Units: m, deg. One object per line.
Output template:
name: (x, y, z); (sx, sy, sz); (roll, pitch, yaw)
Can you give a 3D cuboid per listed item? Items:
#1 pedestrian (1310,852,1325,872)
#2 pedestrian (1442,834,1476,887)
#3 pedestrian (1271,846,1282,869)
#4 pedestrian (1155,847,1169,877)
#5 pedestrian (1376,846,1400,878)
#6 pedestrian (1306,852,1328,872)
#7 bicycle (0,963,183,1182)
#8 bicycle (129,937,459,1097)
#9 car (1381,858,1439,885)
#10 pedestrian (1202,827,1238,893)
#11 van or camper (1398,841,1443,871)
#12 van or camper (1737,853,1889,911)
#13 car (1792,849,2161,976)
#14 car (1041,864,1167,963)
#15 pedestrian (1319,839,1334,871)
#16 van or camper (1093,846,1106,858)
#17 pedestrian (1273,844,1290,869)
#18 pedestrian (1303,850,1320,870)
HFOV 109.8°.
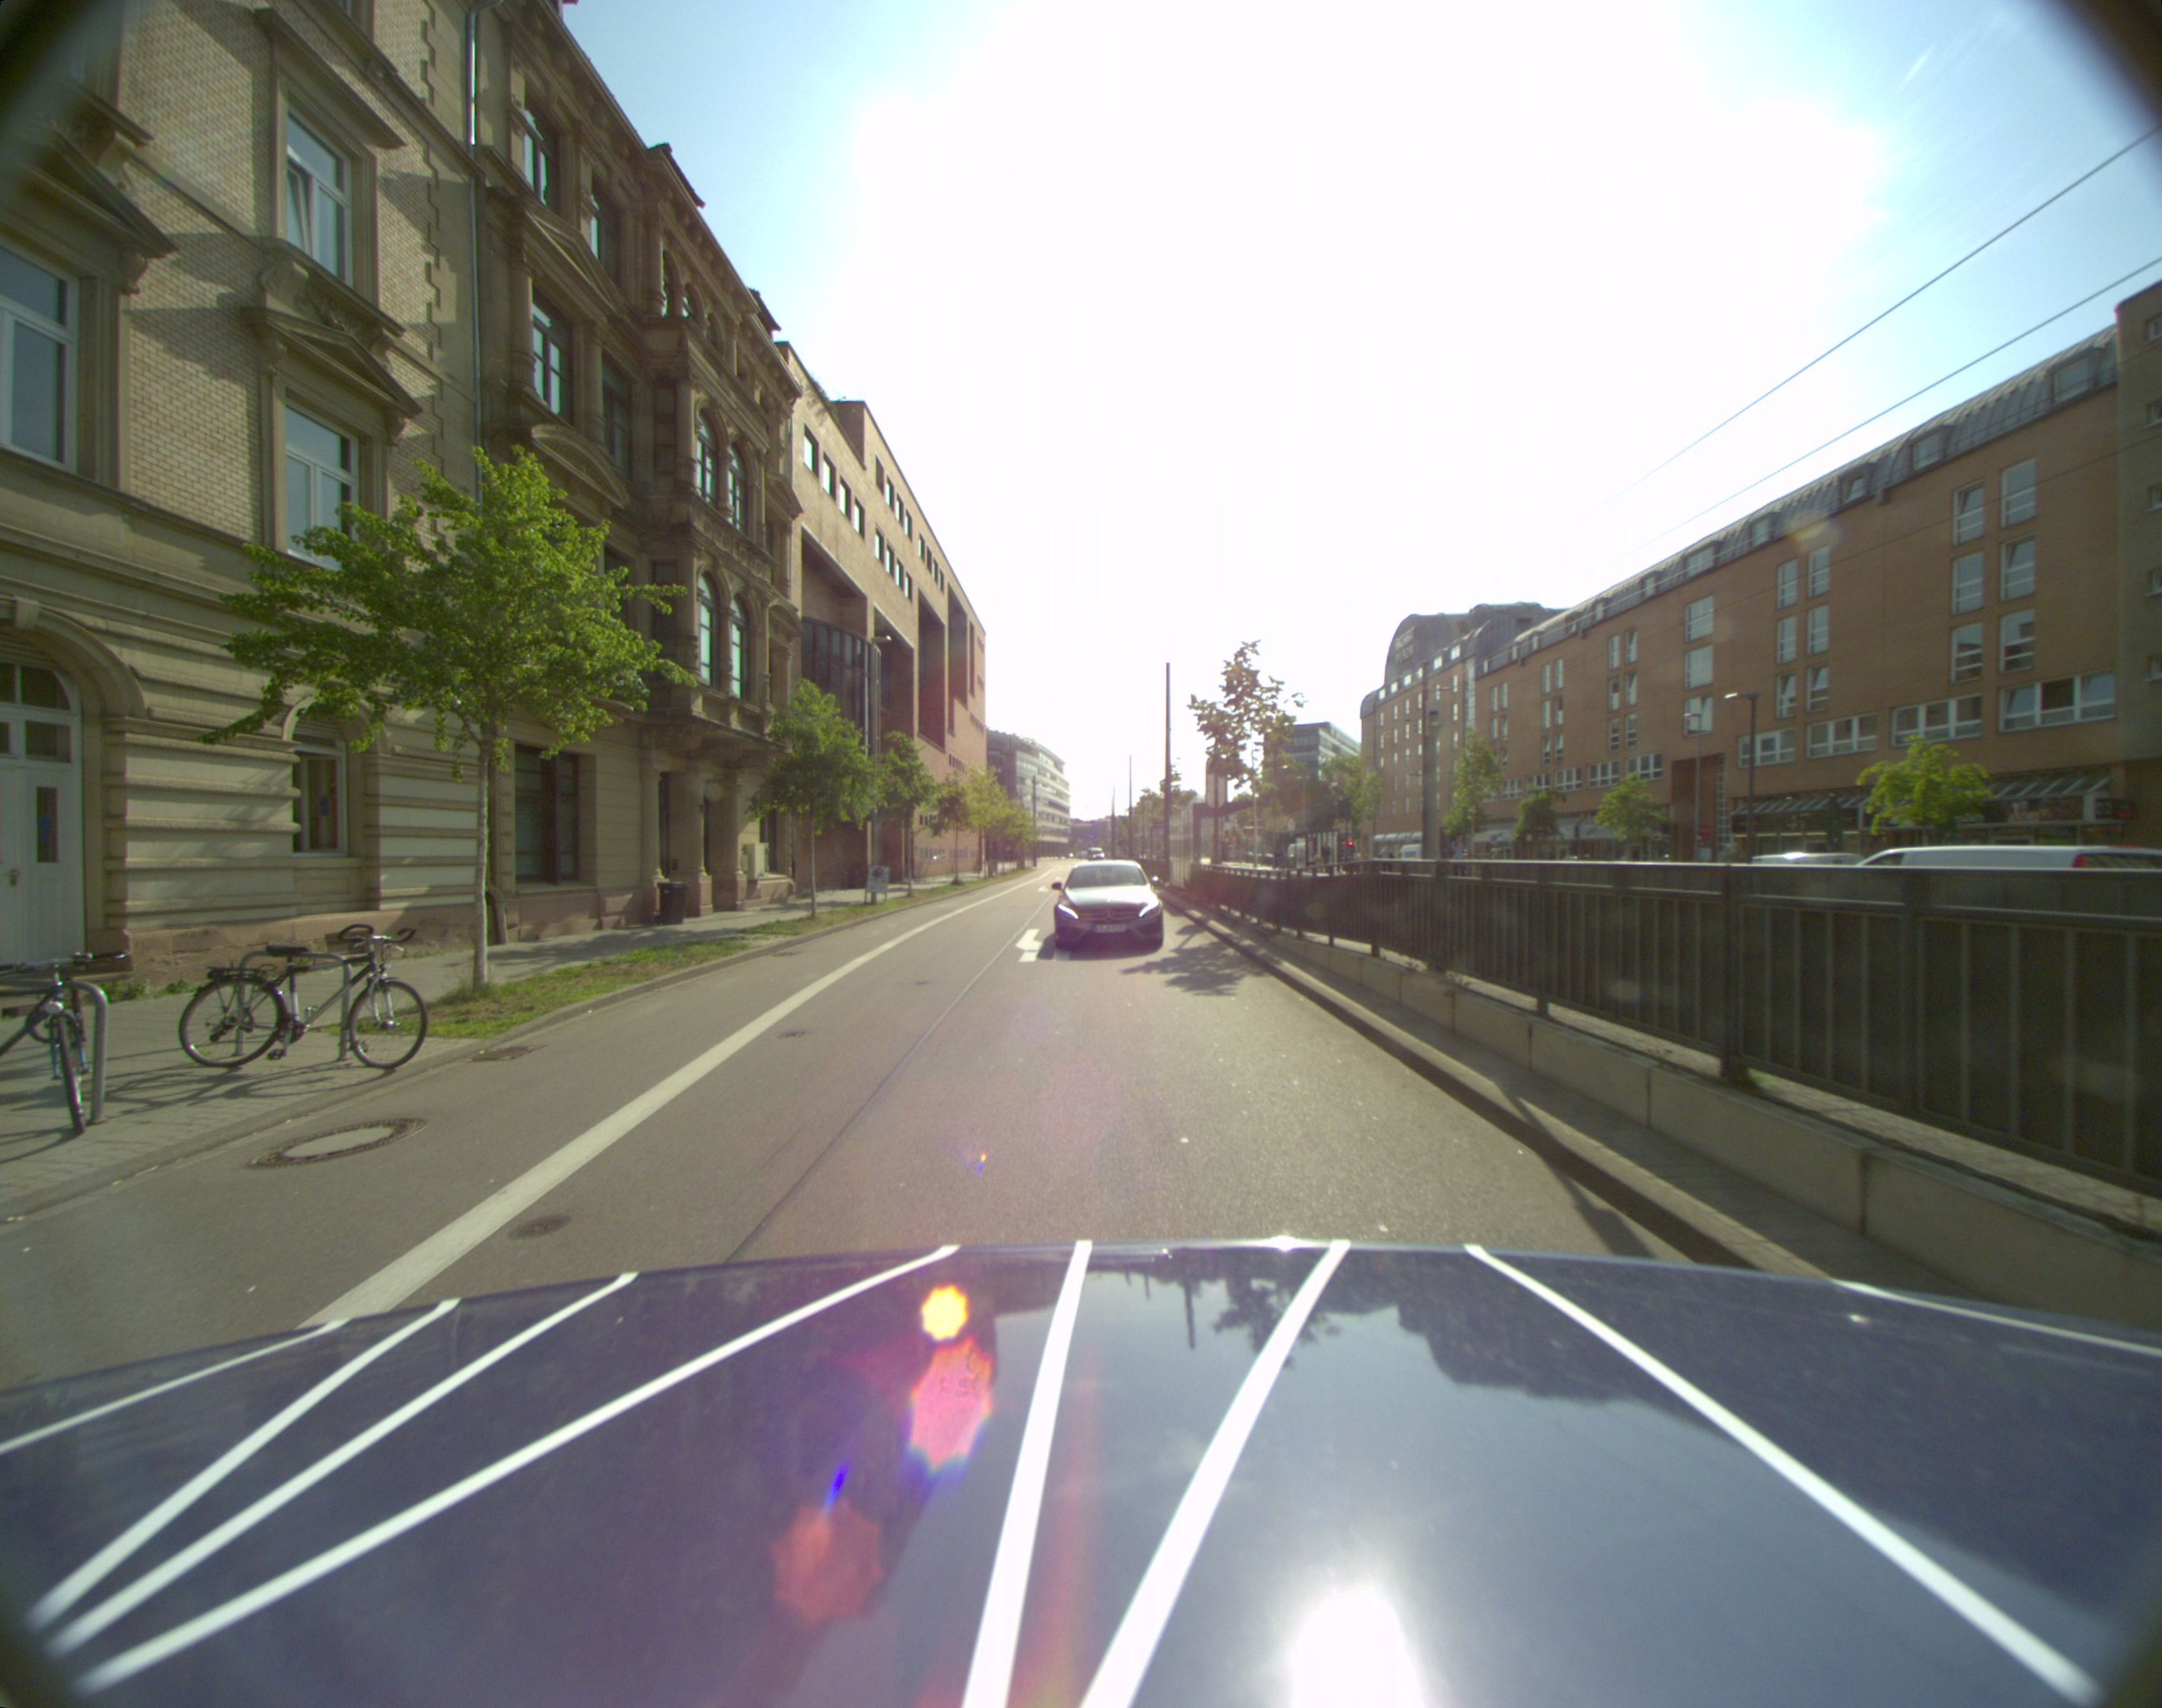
pedestrian: (15.115, 0.511, 48.563); (0.793, 1.238, 0.675); (1, 1, 0)
pedestrian: (13.578, 0.239, 27.300); (0.741, 1.861, 0.939); (0, 1, 1)
pedestrian: (15.619, 0.270, 60.776); (0.652, 1.750, 0.698); (-3, 1, 2)
pedestrian: (4.711, 0.462, 44.197); (0.675, 1.747, 0.727); (-3, 1, 0)
pedestrian: (14.717, 0.379, 36.392); (0.679, 1.522, 0.810); (-1, 1, -30)
pedestrian: (14.837, 0.517, 47.830); (1.156, 1.238, 0.675); (1, 1, 0)
bicycle: (-6.552, 1.218, 4.381); (1.761, 1.081, 0.657); (3, 1, -8)
bicycle: (-6.059, 1.258, 5.938); (1.761, 1.081, 0.610); (3, 1, -8)
car: (23.210, 1.183, 53.794); (1.999, 1.795, 4.631); (0, 0, -1)
pedestrian: (4.335, 0.172, 23.771); (0.835, 2.002, 1.028); (-3, 1, -2)
van or camper: (32.219, 0.164, 72.278); (1.998, 2.786, 5.353); (0, 1, 1)
van or camper: (26.968, 0.964, 28.209); (1.997, 2.002, 4.002); (0, 0, 6)
car: (16.874, 0.918, 14.489); (1.998, 2.002, 4.931); (0, 0, 0)
car: (0.393, 0.939, 13.787); (1.907, 1.384, 4.236); (-1, 1, 1)
pedestrian: (14.495, 0.068, 44.841); (0.806, 1.875, 0.555); (0, 1, 14)
van or camper: (3.307, -0.341, 135.584); (1.934, 2.198, 3.984); (0, 1, -4)
pedestrian: (14.530, 0.189, 55.111); (0.786, 1.736, 0.833); (1, 1, -35)
pedestrian: (15.292, 0.413, 50.474); (0.871, 1.306, 0.808); (0, 1, -2)
